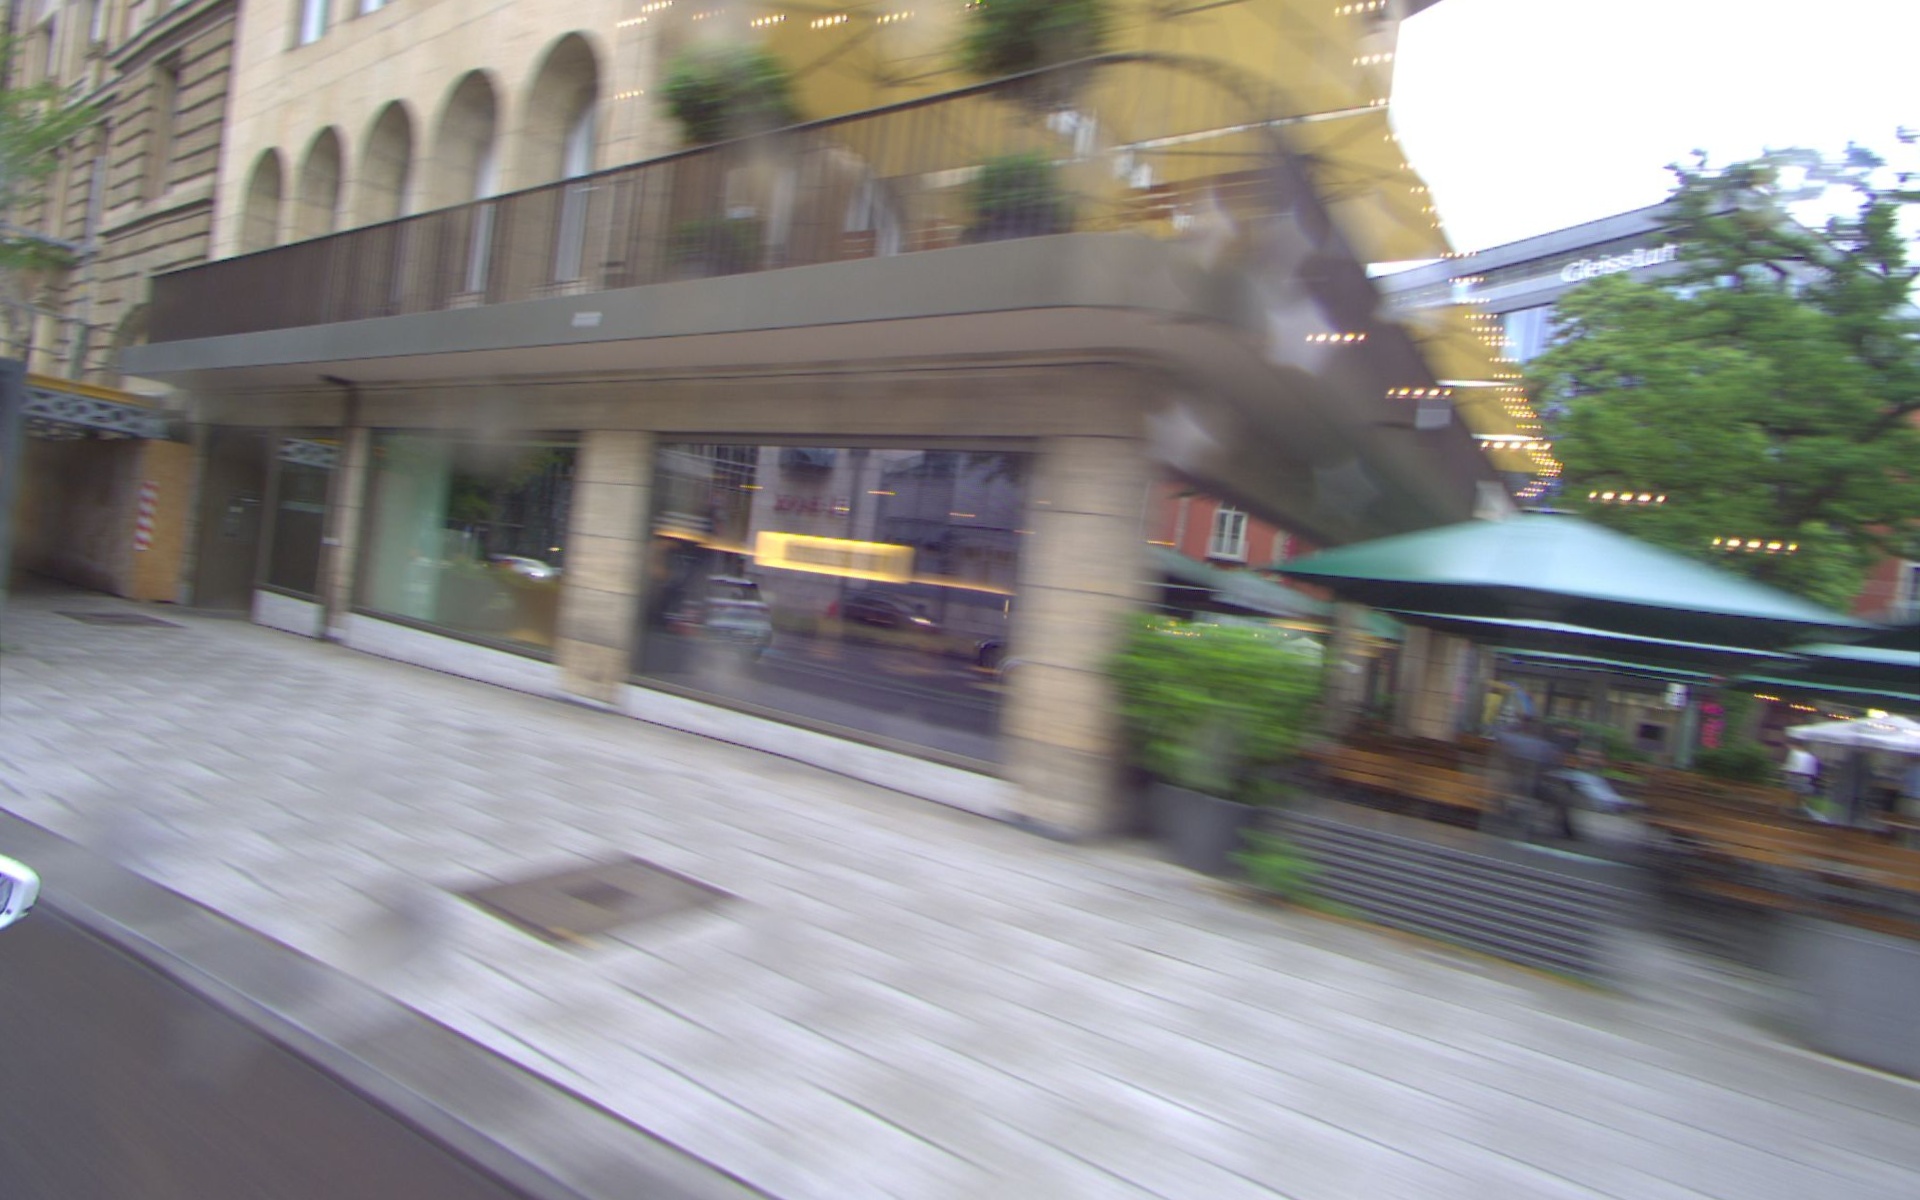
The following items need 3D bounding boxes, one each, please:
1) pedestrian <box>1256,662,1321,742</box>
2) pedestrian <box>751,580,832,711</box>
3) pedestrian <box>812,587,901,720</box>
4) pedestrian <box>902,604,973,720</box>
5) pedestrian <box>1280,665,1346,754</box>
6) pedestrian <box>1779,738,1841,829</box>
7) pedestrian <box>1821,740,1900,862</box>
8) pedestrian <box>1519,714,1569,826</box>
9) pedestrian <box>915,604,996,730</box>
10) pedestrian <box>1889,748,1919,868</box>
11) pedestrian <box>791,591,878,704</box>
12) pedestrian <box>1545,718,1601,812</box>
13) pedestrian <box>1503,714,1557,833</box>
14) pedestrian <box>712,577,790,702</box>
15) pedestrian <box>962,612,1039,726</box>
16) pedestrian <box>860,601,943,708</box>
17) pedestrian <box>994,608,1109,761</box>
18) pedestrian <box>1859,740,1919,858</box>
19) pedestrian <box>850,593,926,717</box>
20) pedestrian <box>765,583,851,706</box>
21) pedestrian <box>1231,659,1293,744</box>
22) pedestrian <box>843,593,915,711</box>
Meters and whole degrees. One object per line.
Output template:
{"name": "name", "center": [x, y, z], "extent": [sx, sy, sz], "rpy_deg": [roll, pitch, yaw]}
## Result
{"name": "pedestrian", "center": [4.860, 1.507, 14.885], "extent": [0.642, 1.068, 0.554], "rpy_deg": [7, -1, 38]}
{"name": "pedestrian", "center": [-1.494, 0.403, 8.922], "extent": [0.471, 1.086, 0.329], "rpy_deg": [7, 0, 27]}
{"name": "pedestrian", "center": [-0.901, 0.456, 8.745], "extent": [0.538, 1.068, 0.406], "rpy_deg": [8, 0, -24]}
{"name": "pedestrian", "center": [-0.232, 0.615, 10.119], "extent": [0.554, 1.068, 0.479], "rpy_deg": [8, 0, -4]}
{"name": "pedestrian", "center": [4.598, 1.426, 13.099], "extent": [0.537, 1.068, 0.554], "rpy_deg": [7, -1, 37]}
{"name": "pedestrian", "center": [17.149, 3.684, 20.313], "extent": [0.773, 1.662, 0.624], "rpy_deg": [7, -1, 37]}
{"name": "pedestrian", "center": [13.341, 2.952, 14.915], "extent": [0.615, 1.662, 0.671], "rpy_deg": [7, -1, 32]}
{"name": "pedestrian", "center": [7.521, 2.166, 12.947], "extent": [0.418, 1.337, 0.648], "rpy_deg": [7, -1, 32]}
{"name": "pedestrian", "center": [-0.048, 0.616, 9.427], "extent": [0.597, 1.068, 0.623], "rpy_deg": [8, -1, -1]}
{"name": "pedestrian", "center": [13.974, 3.012, 14.477], "extent": [0.615, 1.662, 0.676], "rpy_deg": [7, -1, 32]}
{"name": "pedestrian", "center": [-1.290, 0.496, 10.362], "extent": [0.537, 1.068, 0.554], "rpy_deg": [7, -1, 37]}
{"name": "pedestrian", "center": [9.836, 2.630, 16.153], "extent": [0.615, 1.383, 0.738], "rpy_deg": [7, -1, 32]}
{"name": "pedestrian", "center": [6.861, 2.064, 12.106], "extent": [0.418, 1.337, 0.648], "rpy_deg": [7, -1, 32]}
{"name": "pedestrian", "center": [-1.931, 0.364, 9.285], "extent": [0.471, 1.086, 0.329], "rpy_deg": [7, 0, 27]}
{"name": "pedestrian", "center": [0.406, 0.695, 10.350], "extent": [0.598, 1.068, 0.622], "rpy_deg": [8, -1, -4]}
{"name": "pedestrian", "center": [-0.630, 0.591, 10.898], "extent": [0.537, 1.068, 0.554], "rpy_deg": [7, -1, 37]}
{"name": "pedestrian", "center": [0.707, 0.647, 7.718], "extent": [0.537, 1.068, 0.554], "rpy_deg": [7, -1, 37]}
{"name": "pedestrian", "center": [14.288, 3.011, 15.340], "extent": [0.615, 1.662, 0.676], "rpy_deg": [7, -1, 32]}
{"name": "pedestrian", "center": [-0.667, 0.512, 9.366], "extent": [0.471, 1.086, 0.341], "rpy_deg": [7, 0, 22]}
{"name": "pedestrian", "center": [-1.451, 0.429, 9.630], "extent": [0.530, 1.086, 0.433], "rpy_deg": [7, 0, 22]}
{"name": "pedestrian", "center": [4.165, 1.398, 13.857], "extent": [0.537, 1.068, 0.554], "rpy_deg": [7, -1, 37]}
{"name": "pedestrian", "center": [-0.790, 0.512, 9.865], "extent": [0.471, 1.086, 0.330], "rpy_deg": [7, 0, 22]}
